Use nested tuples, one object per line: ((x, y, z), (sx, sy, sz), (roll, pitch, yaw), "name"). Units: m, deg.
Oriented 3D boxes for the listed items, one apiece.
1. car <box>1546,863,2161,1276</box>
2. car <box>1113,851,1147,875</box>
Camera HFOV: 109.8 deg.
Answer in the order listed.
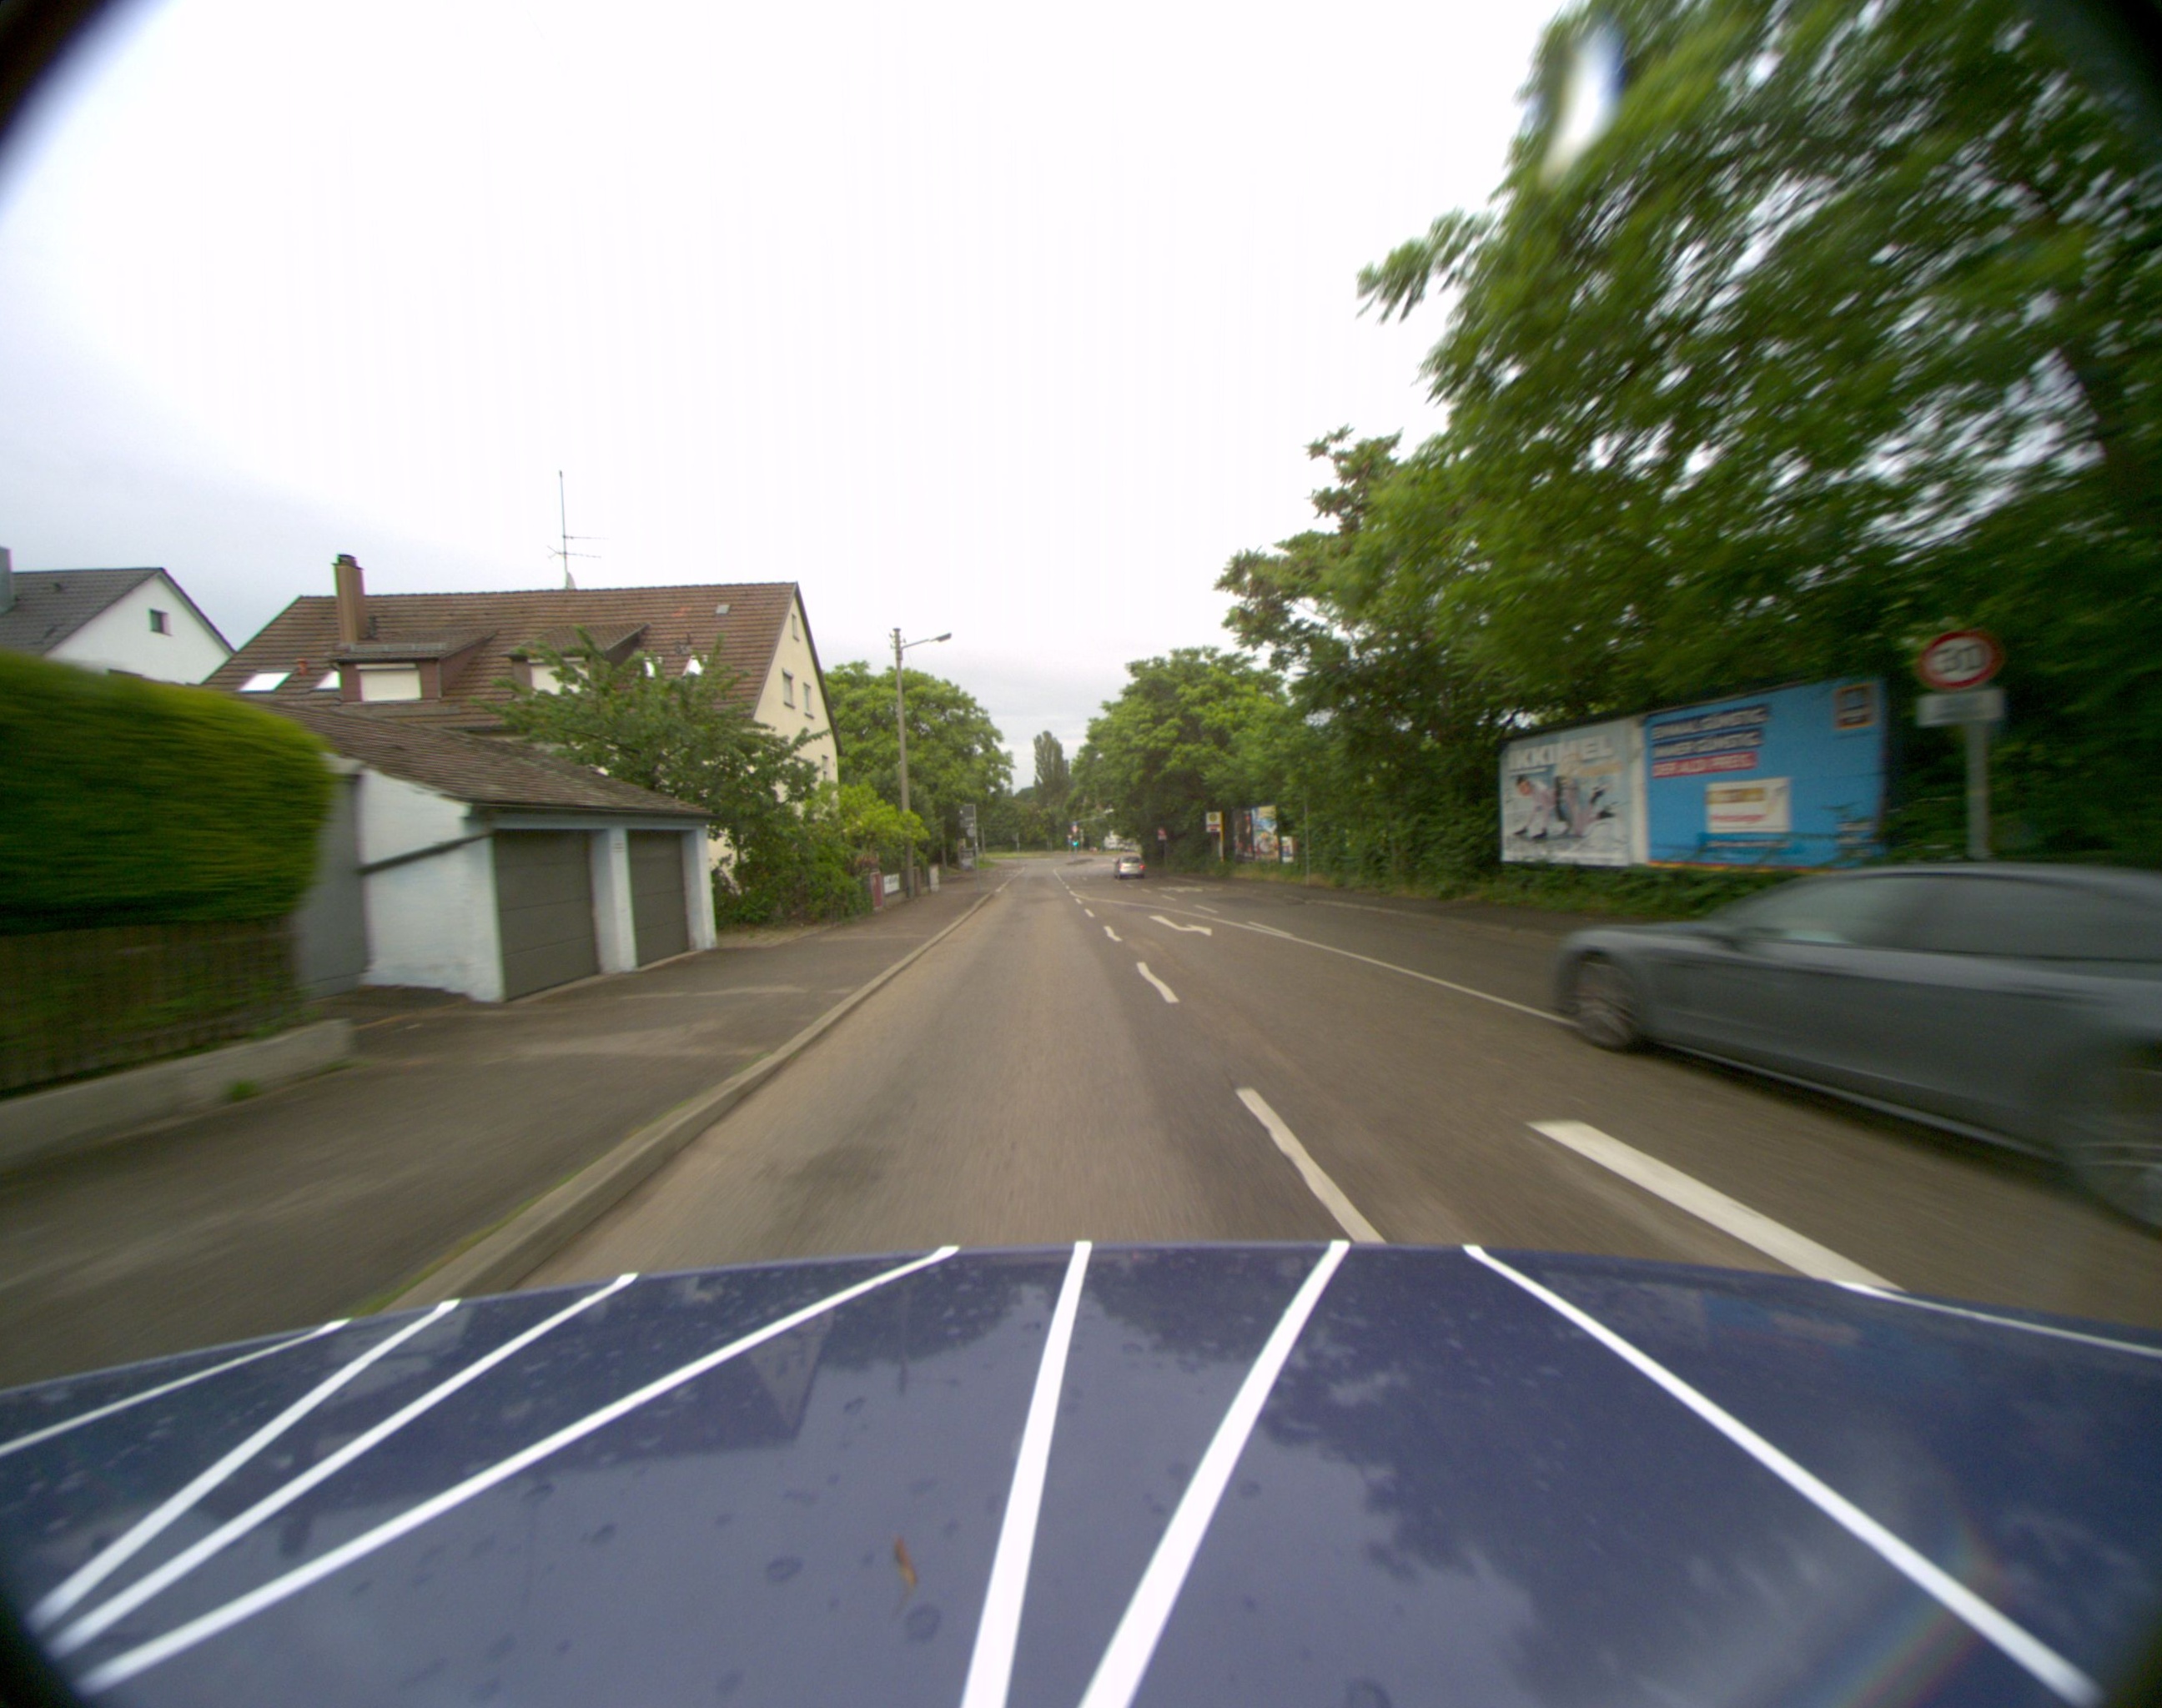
((4.865, 0.799, 3.747), (1.999, 1.435, 4.773), (-2, 0, -3), "car")
((3.145, 0.540, 49.255), (1.673, 1.460, 3.778), (-2, 1, -4), "car")
